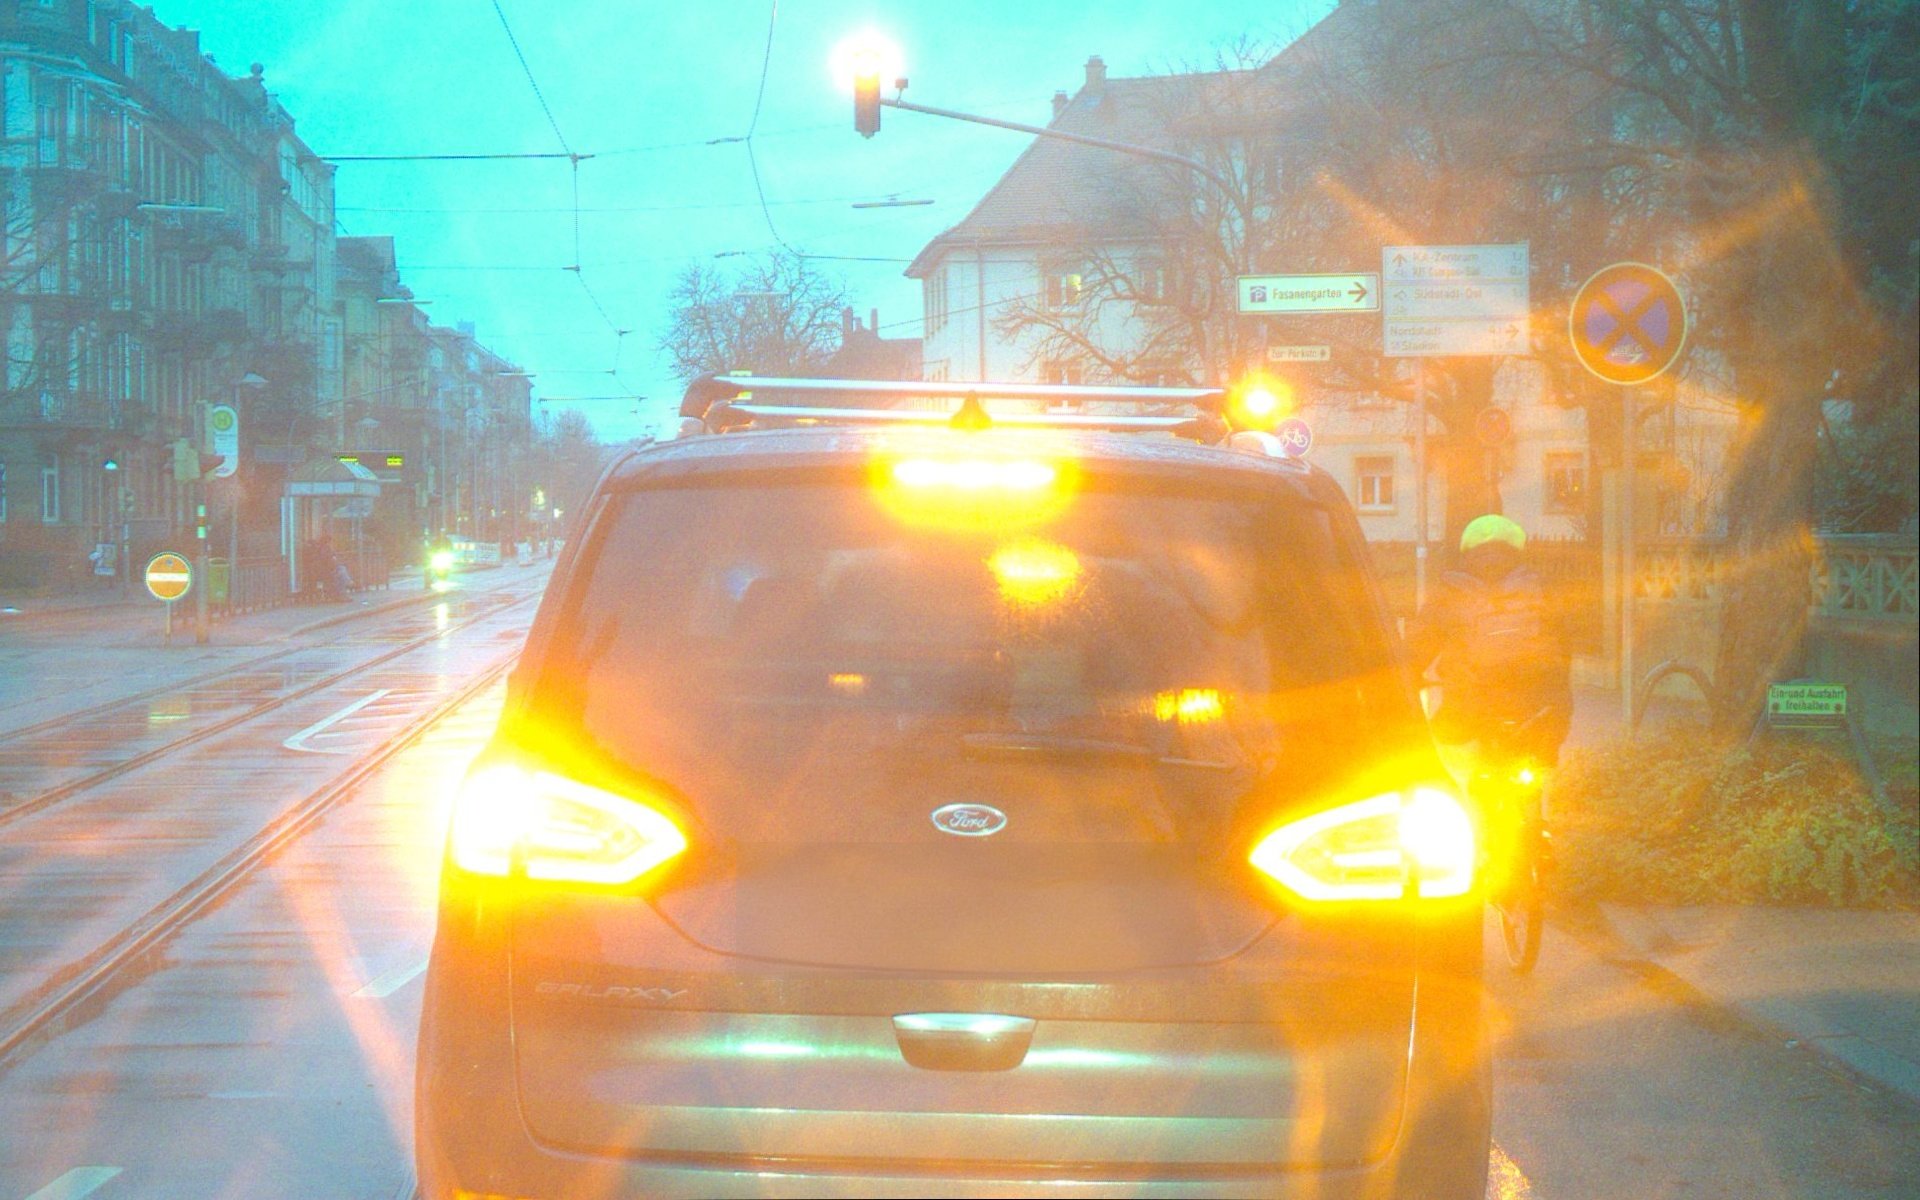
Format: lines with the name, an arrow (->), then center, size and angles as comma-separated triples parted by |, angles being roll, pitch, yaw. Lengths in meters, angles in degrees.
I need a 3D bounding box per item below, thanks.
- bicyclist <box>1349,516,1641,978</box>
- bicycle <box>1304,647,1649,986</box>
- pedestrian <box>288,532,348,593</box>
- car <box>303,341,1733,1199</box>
bicyclist -> 2.017, 0.530, 13.094 | 0.716, 1.657, 1.057 | 3, 1, -8
bicycle -> 1.962, 0.798, 13.366 | 0.716, 1.108, 1.942 | 4, 1, -8
pedestrian -> -12.717, -0.738, 68.110 | 1.047, 1.196, 0.885 | 0, 0, -3
car -> -0.002, 0.499, 7.464 | 2.103, 1.810, 4.661 | 2, 1, -2
